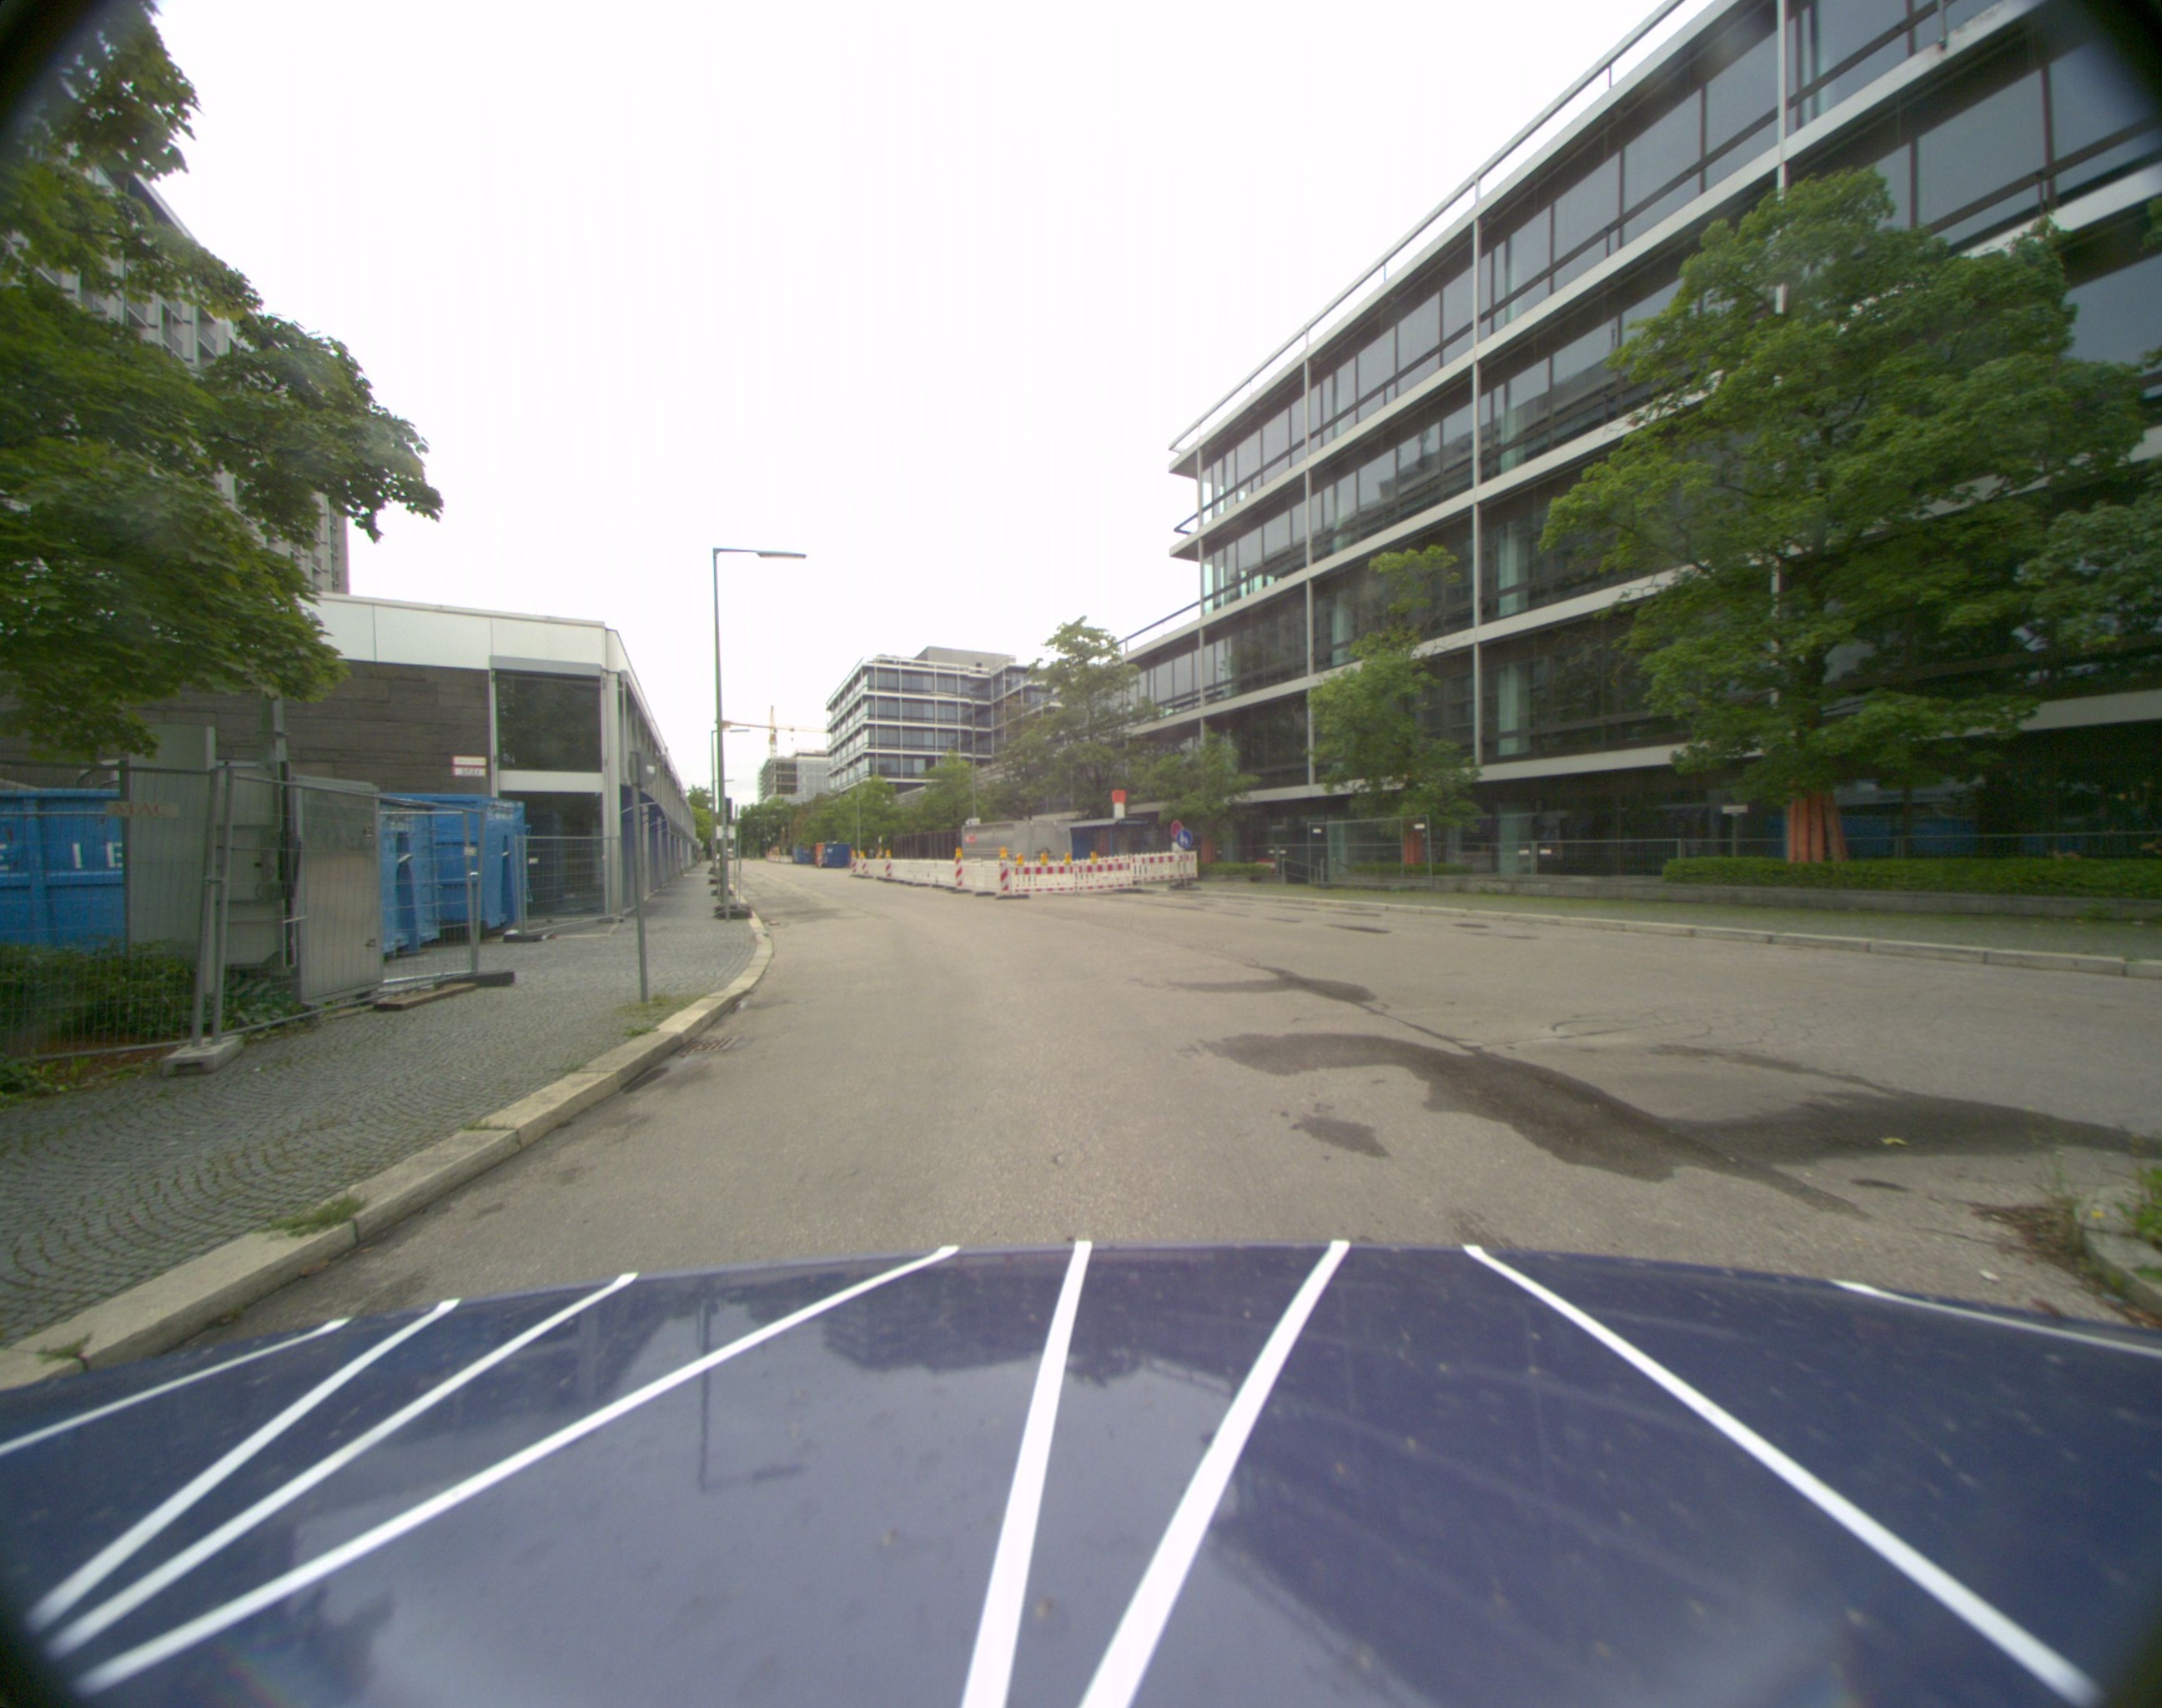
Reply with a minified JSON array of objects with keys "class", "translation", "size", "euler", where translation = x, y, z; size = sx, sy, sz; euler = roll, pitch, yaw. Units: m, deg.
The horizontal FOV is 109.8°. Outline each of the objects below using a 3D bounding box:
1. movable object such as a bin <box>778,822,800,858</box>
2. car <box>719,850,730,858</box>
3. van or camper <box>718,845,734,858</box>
[{"class":"movable object such as a bin","translation":[-53.054,-2.477,137.752],"size":[3.248,6.286,8.319],"euler":[-1,1,-23]},{"class":"car","translation":[-73.528,0.062,156.689],"size":[1.916,1.627,3.991],"euler":[-1,1,-24]},{"class":"van or camper","translation":[-75.899,-0.552,162.492],"size":[2.672,2.751,6.901],"euler":[-1,1,-23]}]
